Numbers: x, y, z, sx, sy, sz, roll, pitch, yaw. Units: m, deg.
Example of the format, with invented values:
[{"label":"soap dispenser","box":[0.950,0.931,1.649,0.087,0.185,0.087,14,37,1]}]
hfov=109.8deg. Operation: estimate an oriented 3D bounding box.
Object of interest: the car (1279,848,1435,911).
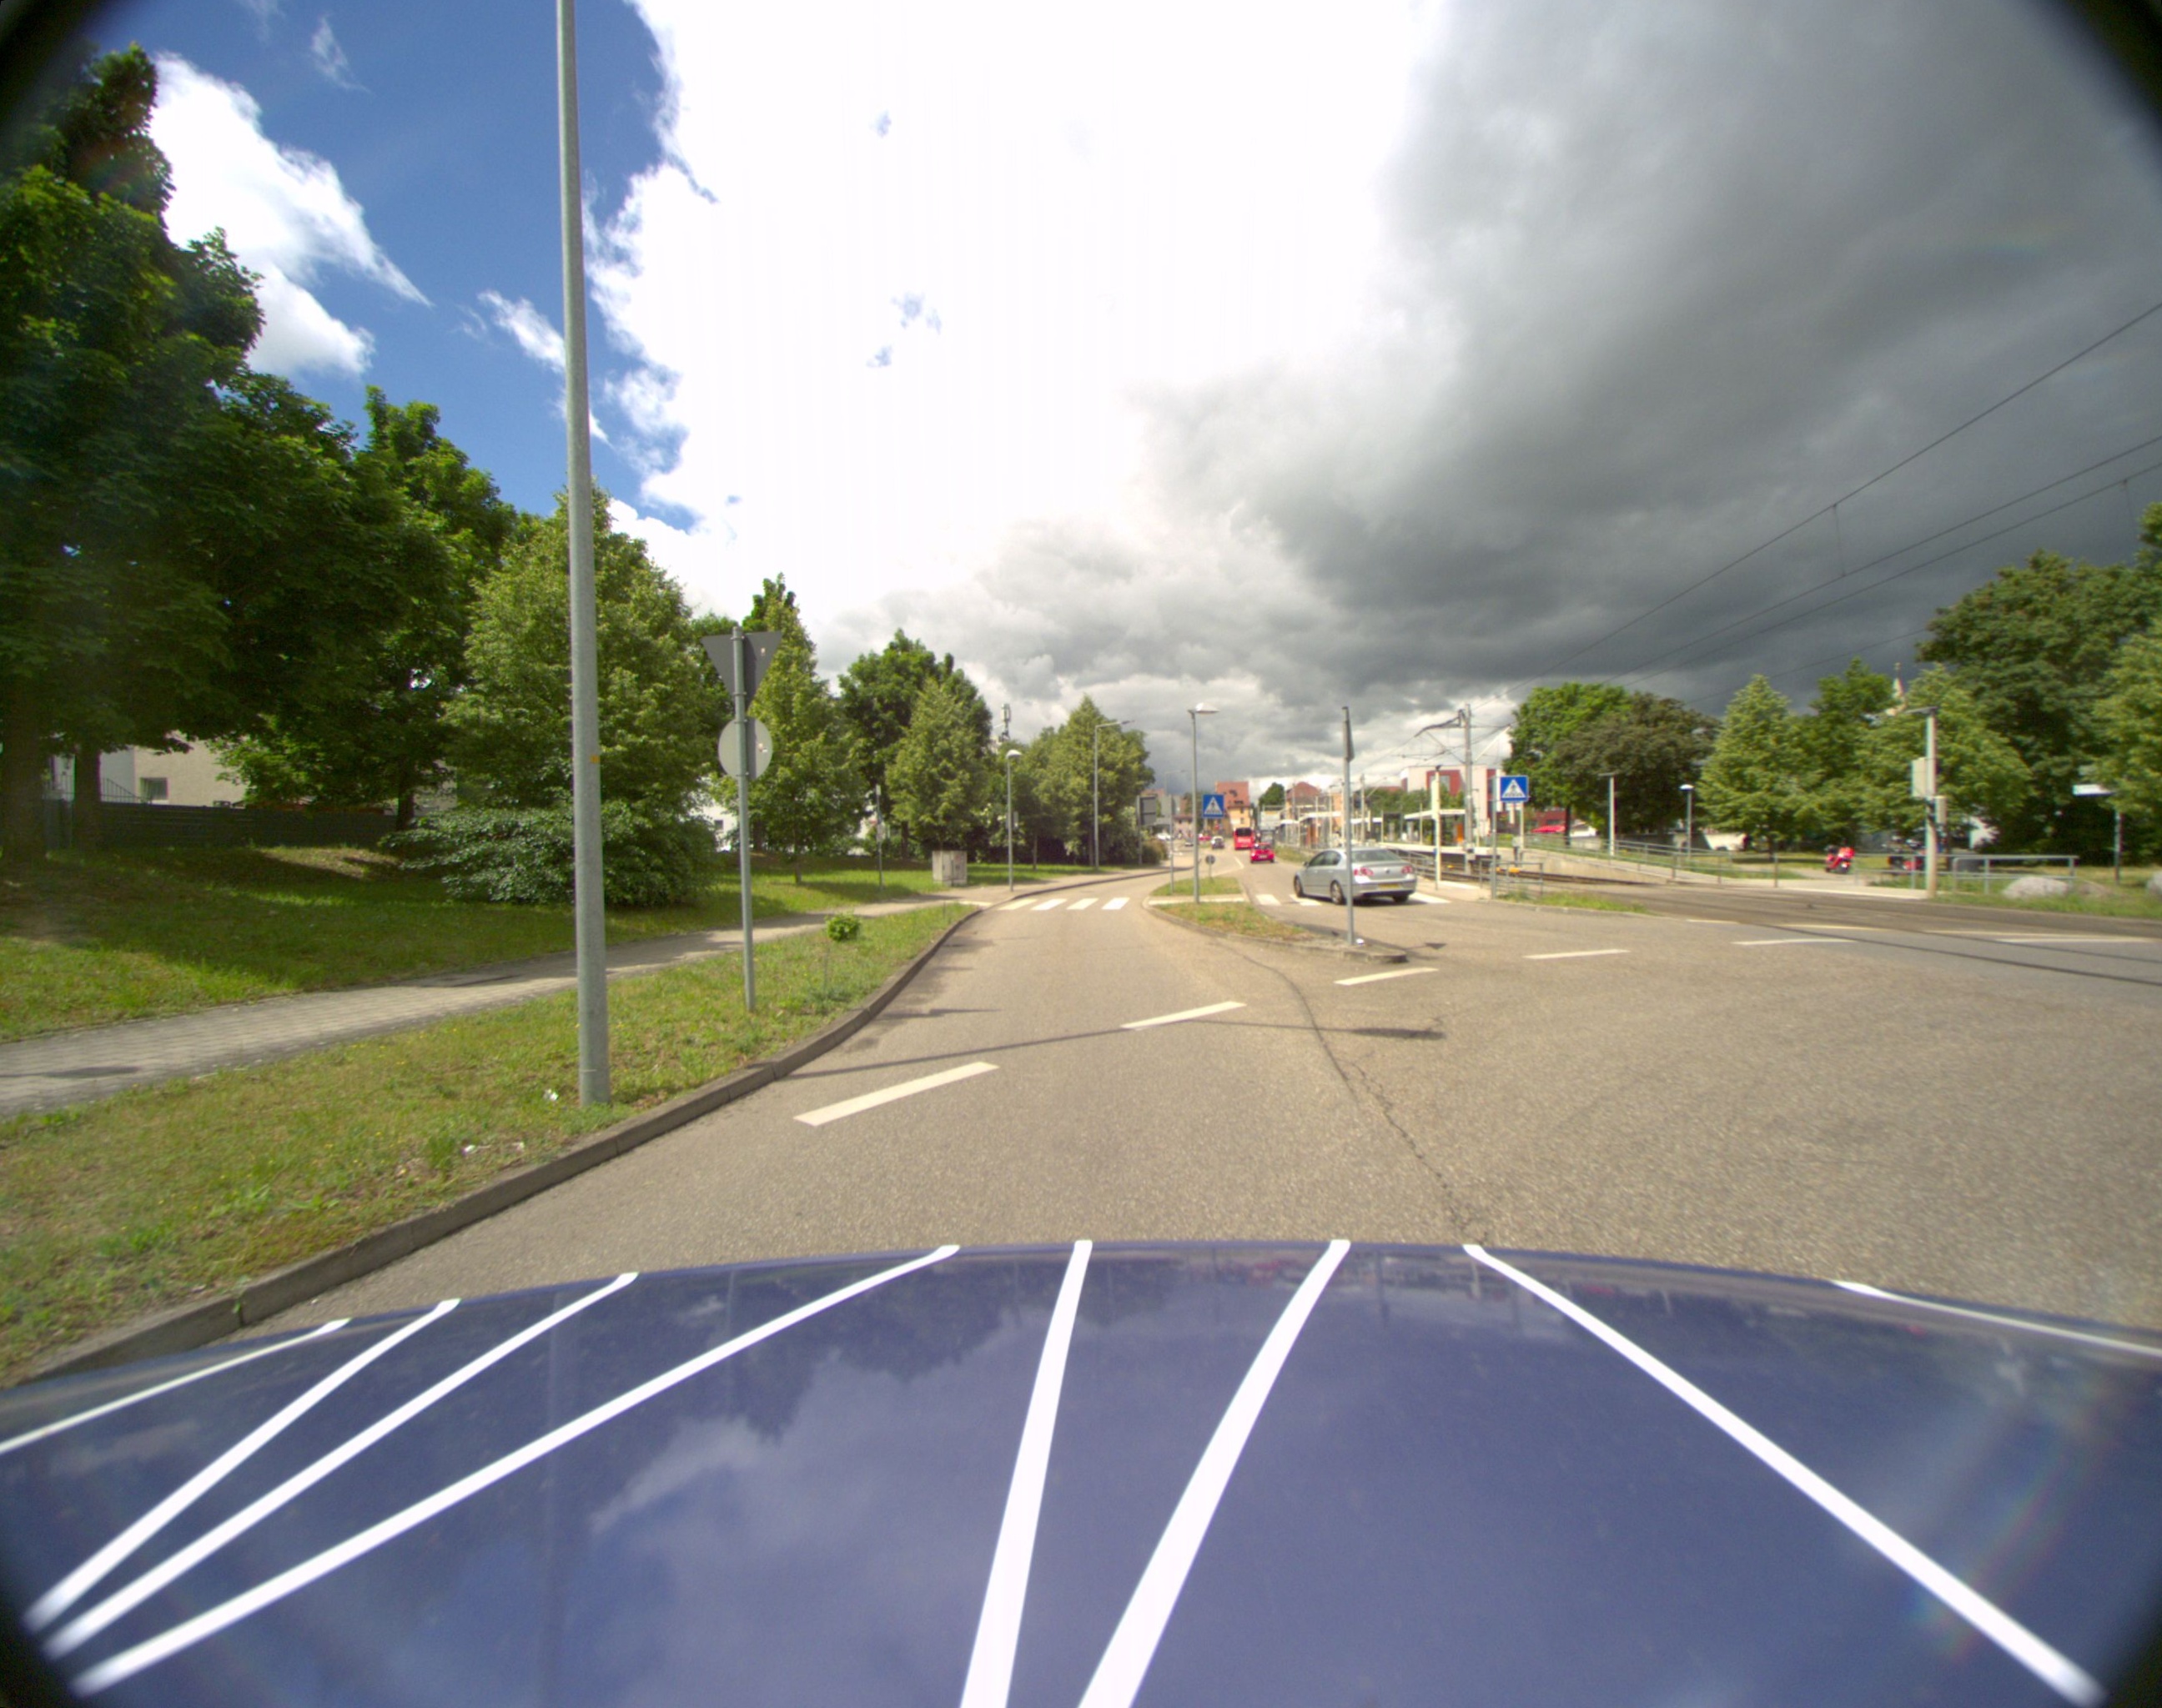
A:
[{"label":"car","box":[7.114,0.572,20.170,1.941,1.374,4.657,-2,1,-7]}]

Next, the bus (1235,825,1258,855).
[{"label":"bus","box":[22.796,-1.900,104.450,2.921,3.864,10.387,-1,1,12]}]

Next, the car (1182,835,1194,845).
[{"label":"car","box":[19.979,-2.577,142.026,1.997,1.849,4.003,-1,1,10]}]

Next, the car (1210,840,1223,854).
[{"label":"car","box":[19.965,-1.017,111.982,1.849,1.916,3.780,-1,1,11]}]

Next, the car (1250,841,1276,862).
[{"label":"car","box":[13.498,-0.209,56.520,1.737,1.501,3.517,-2,1,12]}]
